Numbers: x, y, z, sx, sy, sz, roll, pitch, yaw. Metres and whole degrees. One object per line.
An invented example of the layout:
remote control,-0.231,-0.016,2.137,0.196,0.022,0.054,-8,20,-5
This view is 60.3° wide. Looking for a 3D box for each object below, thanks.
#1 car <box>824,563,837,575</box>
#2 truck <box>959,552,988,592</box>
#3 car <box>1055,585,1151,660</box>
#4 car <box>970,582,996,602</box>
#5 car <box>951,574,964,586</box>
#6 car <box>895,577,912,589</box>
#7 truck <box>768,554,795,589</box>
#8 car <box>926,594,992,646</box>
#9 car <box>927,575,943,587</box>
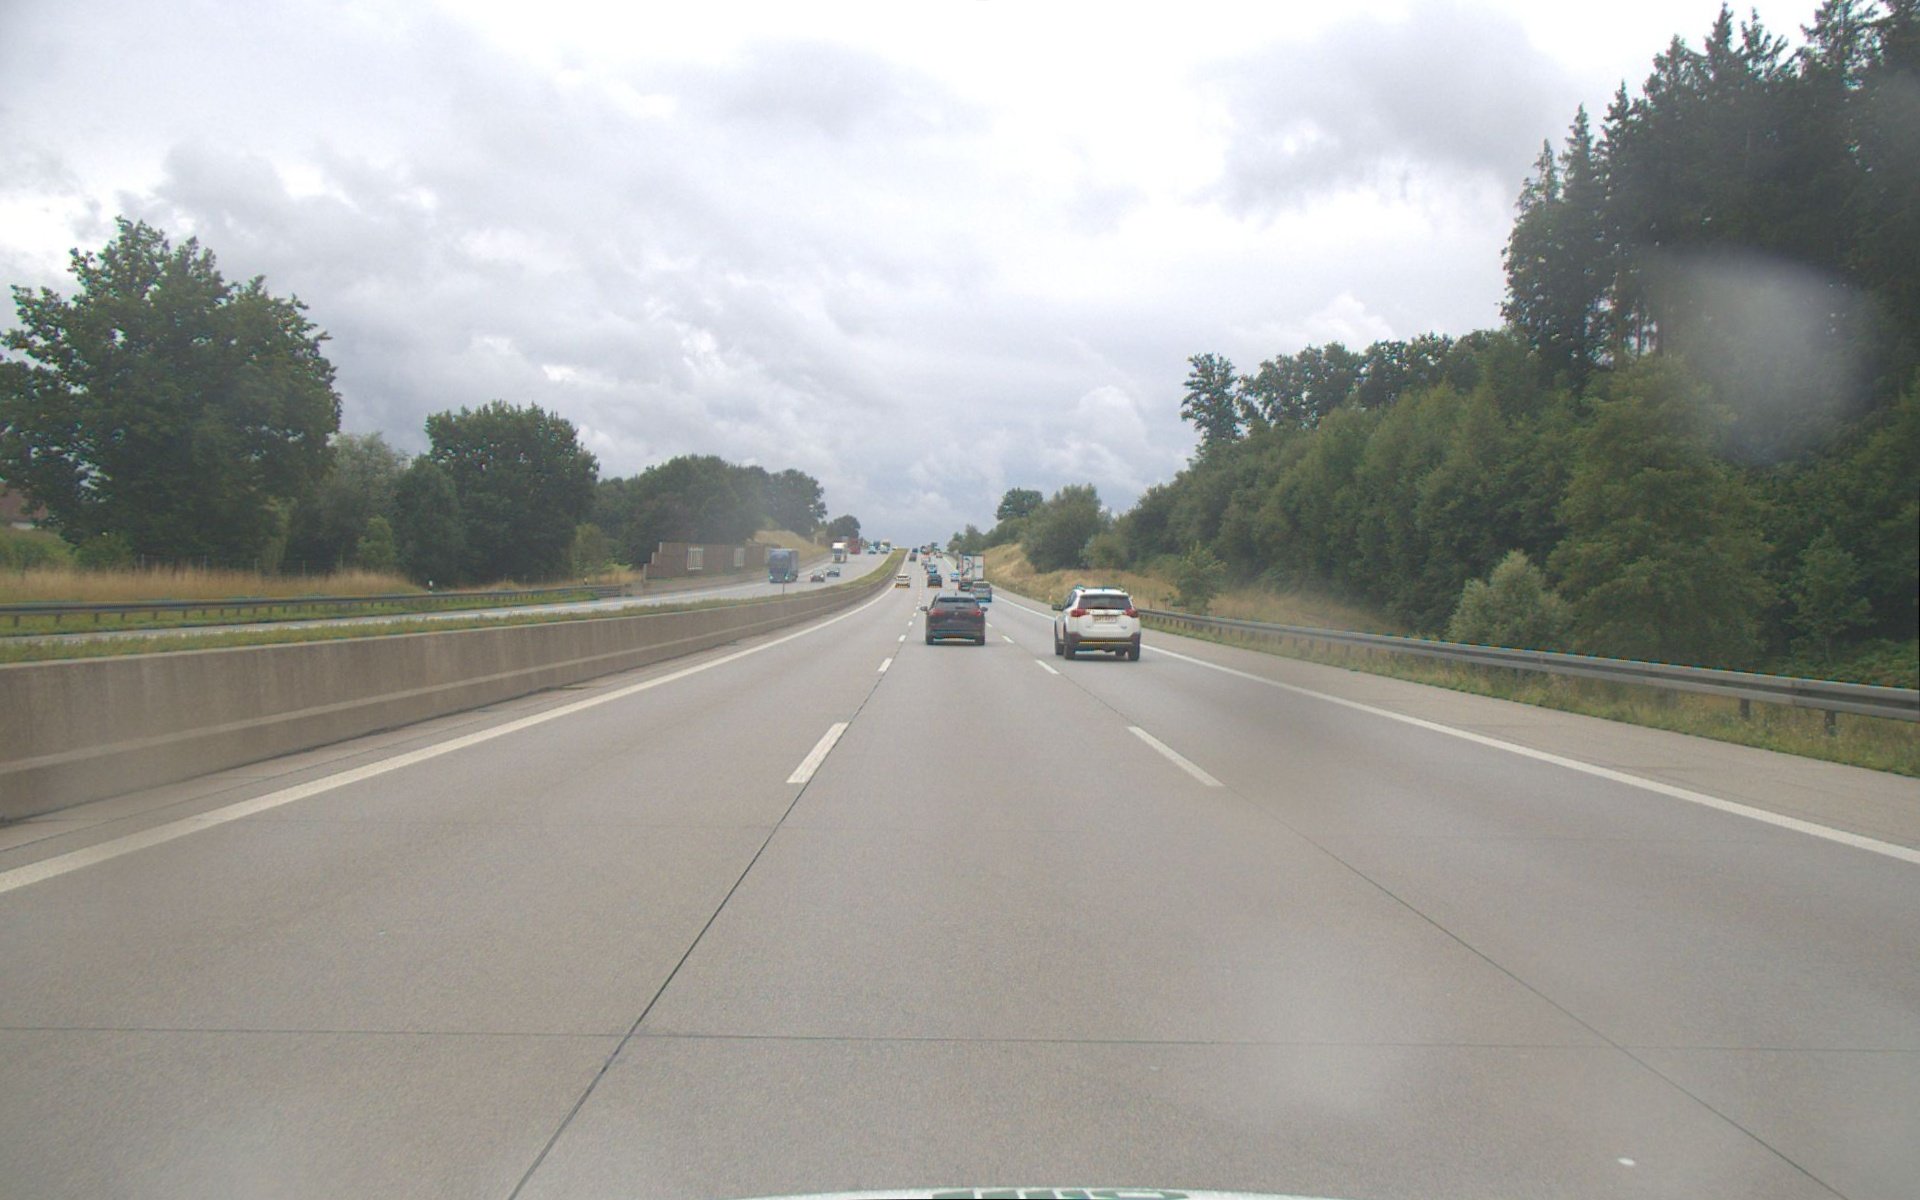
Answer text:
car,-19.836,-4.715,252.919,1.780,1.798,4.730,1,1,-2
truck,1.455,-3.161,185.805,2.956,4.253,8.352,1,1,-1
car,3.395,0.505,39.944,1.789,1.684,3.983,1,0,-2
car,1.868,-0.633,134.621,1.953,1.557,3.999,1,0,-1
car,-0.362,-2.960,243.727,1.952,1.668,4.001,1,1,1
car,-6.868,-2.074,202.012,1.908,1.380,4.258,0,-2,-1
truck,-22.314,-3.531,207.036,2.637,4.262,6.209,1,0,-1
car,-0.073,0.604,48.550,1.717,1.423,4.481,1,-1,-2
car,-3.087,-2.413,206.498,1.896,1.399,4.594,1,0,0
